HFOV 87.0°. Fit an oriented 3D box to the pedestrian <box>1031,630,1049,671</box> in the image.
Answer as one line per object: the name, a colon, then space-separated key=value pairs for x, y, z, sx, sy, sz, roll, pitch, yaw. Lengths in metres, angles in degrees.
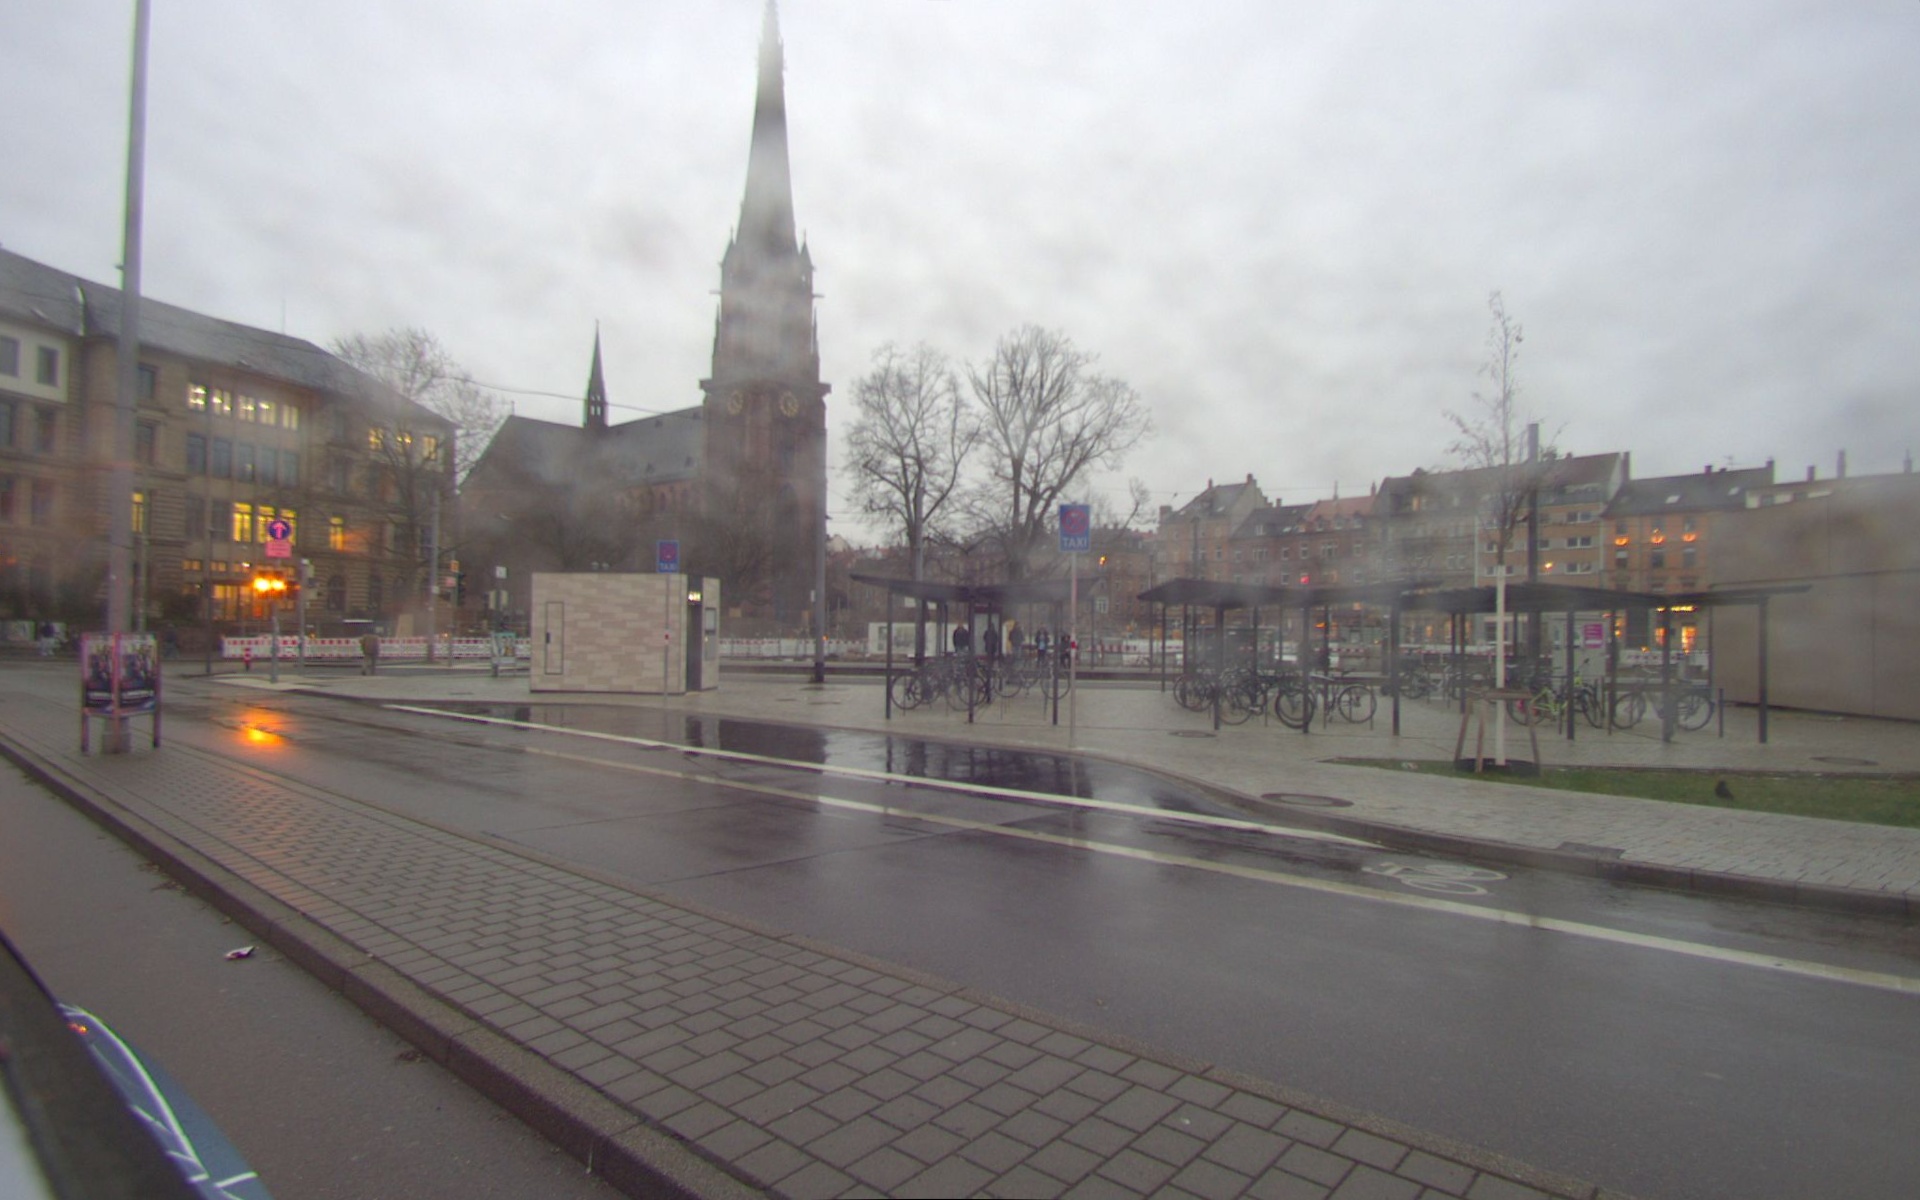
pedestrian: x=3.033 y=1.903 z=38.331 sx=0.580 sy=1.513 sz=0.675 roll=-1 pitch=0 yaw=-1

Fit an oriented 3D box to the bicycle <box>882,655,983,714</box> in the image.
bicycle: x=-0.539 y=1.647 z=19.866 sx=1.905 sy=1.078 sz=0.473 roll=1 pitch=-1 yaw=11

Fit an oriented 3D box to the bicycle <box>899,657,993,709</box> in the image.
bicycle: x=-0.288 y=1.727 z=21.103 sx=1.905 sy=0.993 sz=0.473 roll=1 pitch=-1 yaw=11

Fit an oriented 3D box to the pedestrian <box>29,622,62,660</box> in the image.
pedestrian: x=-46.659 y=2.108 z=51.639 sx=0.961 sy=1.915 sz=0.673 roll=1 pitch=-2 yaw=5

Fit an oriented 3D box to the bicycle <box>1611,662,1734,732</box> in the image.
bicycle: x=12.688 y=1.716 z=18.044 sx=1.731 sy=1.165 sz=0.617 roll=1 pitch=-1 yaw=1

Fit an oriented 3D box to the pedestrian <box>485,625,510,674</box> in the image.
pedestrian: x=-17.584 y=1.868 z=38.444 sx=0.813 sy=1.808 sz=0.672 roll=-1 pitch=0 yaw=-29

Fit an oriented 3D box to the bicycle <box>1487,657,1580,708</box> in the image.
bicycle: x=13.252 y=1.900 z=23.416 sx=1.810 sy=1.081 sz=0.474 roll=1 pitch=-1 yaw=8

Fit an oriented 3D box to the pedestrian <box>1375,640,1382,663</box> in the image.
pedestrian: x=37.846 y=4.637 z=91.470 sx=0.436 sy=2.029 sz=0.414 roll=3 pitch=-4 yaw=-41

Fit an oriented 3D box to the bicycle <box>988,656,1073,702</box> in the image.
bicycle: x=1.638 y=1.815 z=23.422 sx=1.905 sy=0.993 sz=0.473 roll=1 pitch=-1 yaw=11

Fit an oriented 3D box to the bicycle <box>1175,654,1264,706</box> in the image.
bicycle: x=5.848 y=1.801 z=22.848 sx=1.905 sy=1.078 sz=0.473 roll=1 pitch=-1 yaw=11

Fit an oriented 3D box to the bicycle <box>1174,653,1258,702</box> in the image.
bicycle: x=6.063 y=1.821 z=24.038 sx=1.905 sy=1.078 sz=0.473 roll=1 pitch=-1 yaw=11

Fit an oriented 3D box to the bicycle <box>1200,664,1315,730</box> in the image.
bicycle: x=5.255 y=1.713 z=17.955 sx=1.905 sy=1.078 sz=0.473 roll=1 pitch=-1 yaw=11

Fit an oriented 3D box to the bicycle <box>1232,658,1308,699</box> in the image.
bicycle: x=7.661 y=1.934 z=25.069 sx=1.729 sy=0.946 sz=0.474 roll=1 pitch=-1 yaw=7

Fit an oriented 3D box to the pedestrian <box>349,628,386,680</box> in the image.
pedestrian: x=-20.193 y=1.821 z=34.507 sx=0.760 sy=1.673 sz=1.211 roll=-1 pitch=0 yaw=-14

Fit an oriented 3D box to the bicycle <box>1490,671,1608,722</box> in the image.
bicycle: x=11.366 y=1.854 z=19.570 sx=1.905 sy=0.898 sz=0.473 roll=1 pitch=-1 yaw=11

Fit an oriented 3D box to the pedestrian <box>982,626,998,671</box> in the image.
pedestrian: x=1.148 y=1.852 z=38.650 sx=0.556 sy=1.664 sz=0.540 roll=-1 pitch=0 yaw=-1

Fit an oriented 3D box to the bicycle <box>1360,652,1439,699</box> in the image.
bicycle: x=11.184 y=1.916 z=25.800 sx=1.780 sy=1.116 sz=0.473 roll=1 pitch=-1 yaw=11

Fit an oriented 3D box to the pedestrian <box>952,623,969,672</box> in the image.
pedestrian: x=0.003 y=1.795 z=38.577 sx=0.619 sy=1.808 sz=0.672 roll=-1 pitch=0 yaw=-1

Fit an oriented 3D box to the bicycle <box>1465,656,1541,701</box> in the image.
bicycle: x=13.232 y=1.907 z=24.663 sx=1.551 sy=1.044 sz=0.521 roll=1 pitch=-1 yaw=1

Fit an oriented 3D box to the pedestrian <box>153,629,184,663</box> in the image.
pedestrian: x=-40.808 y=2.387 z=52.202 sx=0.918 sy=1.737 sz=0.824 roll=0 pitch=-3 yaw=11

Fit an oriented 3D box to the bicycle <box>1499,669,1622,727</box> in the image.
bicycle: x=11.125 y=1.806 z=18.783 sx=1.905 sy=0.983 sz=0.473 roll=1 pitch=-1 yaw=11

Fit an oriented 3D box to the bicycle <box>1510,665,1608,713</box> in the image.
bicycle: x=12.899 y=1.911 z=21.829 sx=1.751 sy=0.963 sz=0.473 roll=1 pitch=-1 yaw=11

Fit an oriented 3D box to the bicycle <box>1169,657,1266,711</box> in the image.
bicycle: x=5.430 y=1.766 z=21.399 sx=1.899 sy=1.078 sz=0.474 roll=1 pitch=-1 yaw=2

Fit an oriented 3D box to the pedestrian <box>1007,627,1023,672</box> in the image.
pedestrian: x=2.067 y=1.848 z=38.112 sx=0.543 sy=1.648 sz=0.571 roll=-1 pitch=0 yaw=-1

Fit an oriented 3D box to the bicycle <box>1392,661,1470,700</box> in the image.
bicycle: x=11.620 y=1.983 z=24.990 sx=1.672 sy=0.898 sz=0.474 roll=1 pitch=-1 yaw=5

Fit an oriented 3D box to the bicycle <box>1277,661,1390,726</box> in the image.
bicycle: x=6.944 y=1.727 z=18.865 sx=1.905 sy=1.129 sz=0.473 roll=1 pitch=-1 yaw=11

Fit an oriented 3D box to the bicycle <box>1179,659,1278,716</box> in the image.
bicycle: x=5.431 y=1.767 z=20.545 sx=1.905 sy=1.078 sz=0.473 roll=1 pitch=-1 yaw=11

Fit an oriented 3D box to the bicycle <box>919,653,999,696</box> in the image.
bicycle: x=-0.020 y=1.822 z=24.841 sx=1.905 sy=0.993 sz=0.473 roll=1 pitch=-1 yaw=11

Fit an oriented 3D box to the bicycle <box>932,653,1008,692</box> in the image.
bicycle: x=0.270 y=1.862 z=26.125 sx=1.905 sy=0.917 sz=0.473 roll=1 pitch=-1 yaw=11

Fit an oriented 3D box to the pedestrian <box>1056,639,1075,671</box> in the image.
pedestrian: x=3.980 y=2.065 z=38.322 sx=0.610 sy=1.165 sz=0.806 roll=-1 pitch=0 yaw=-1
